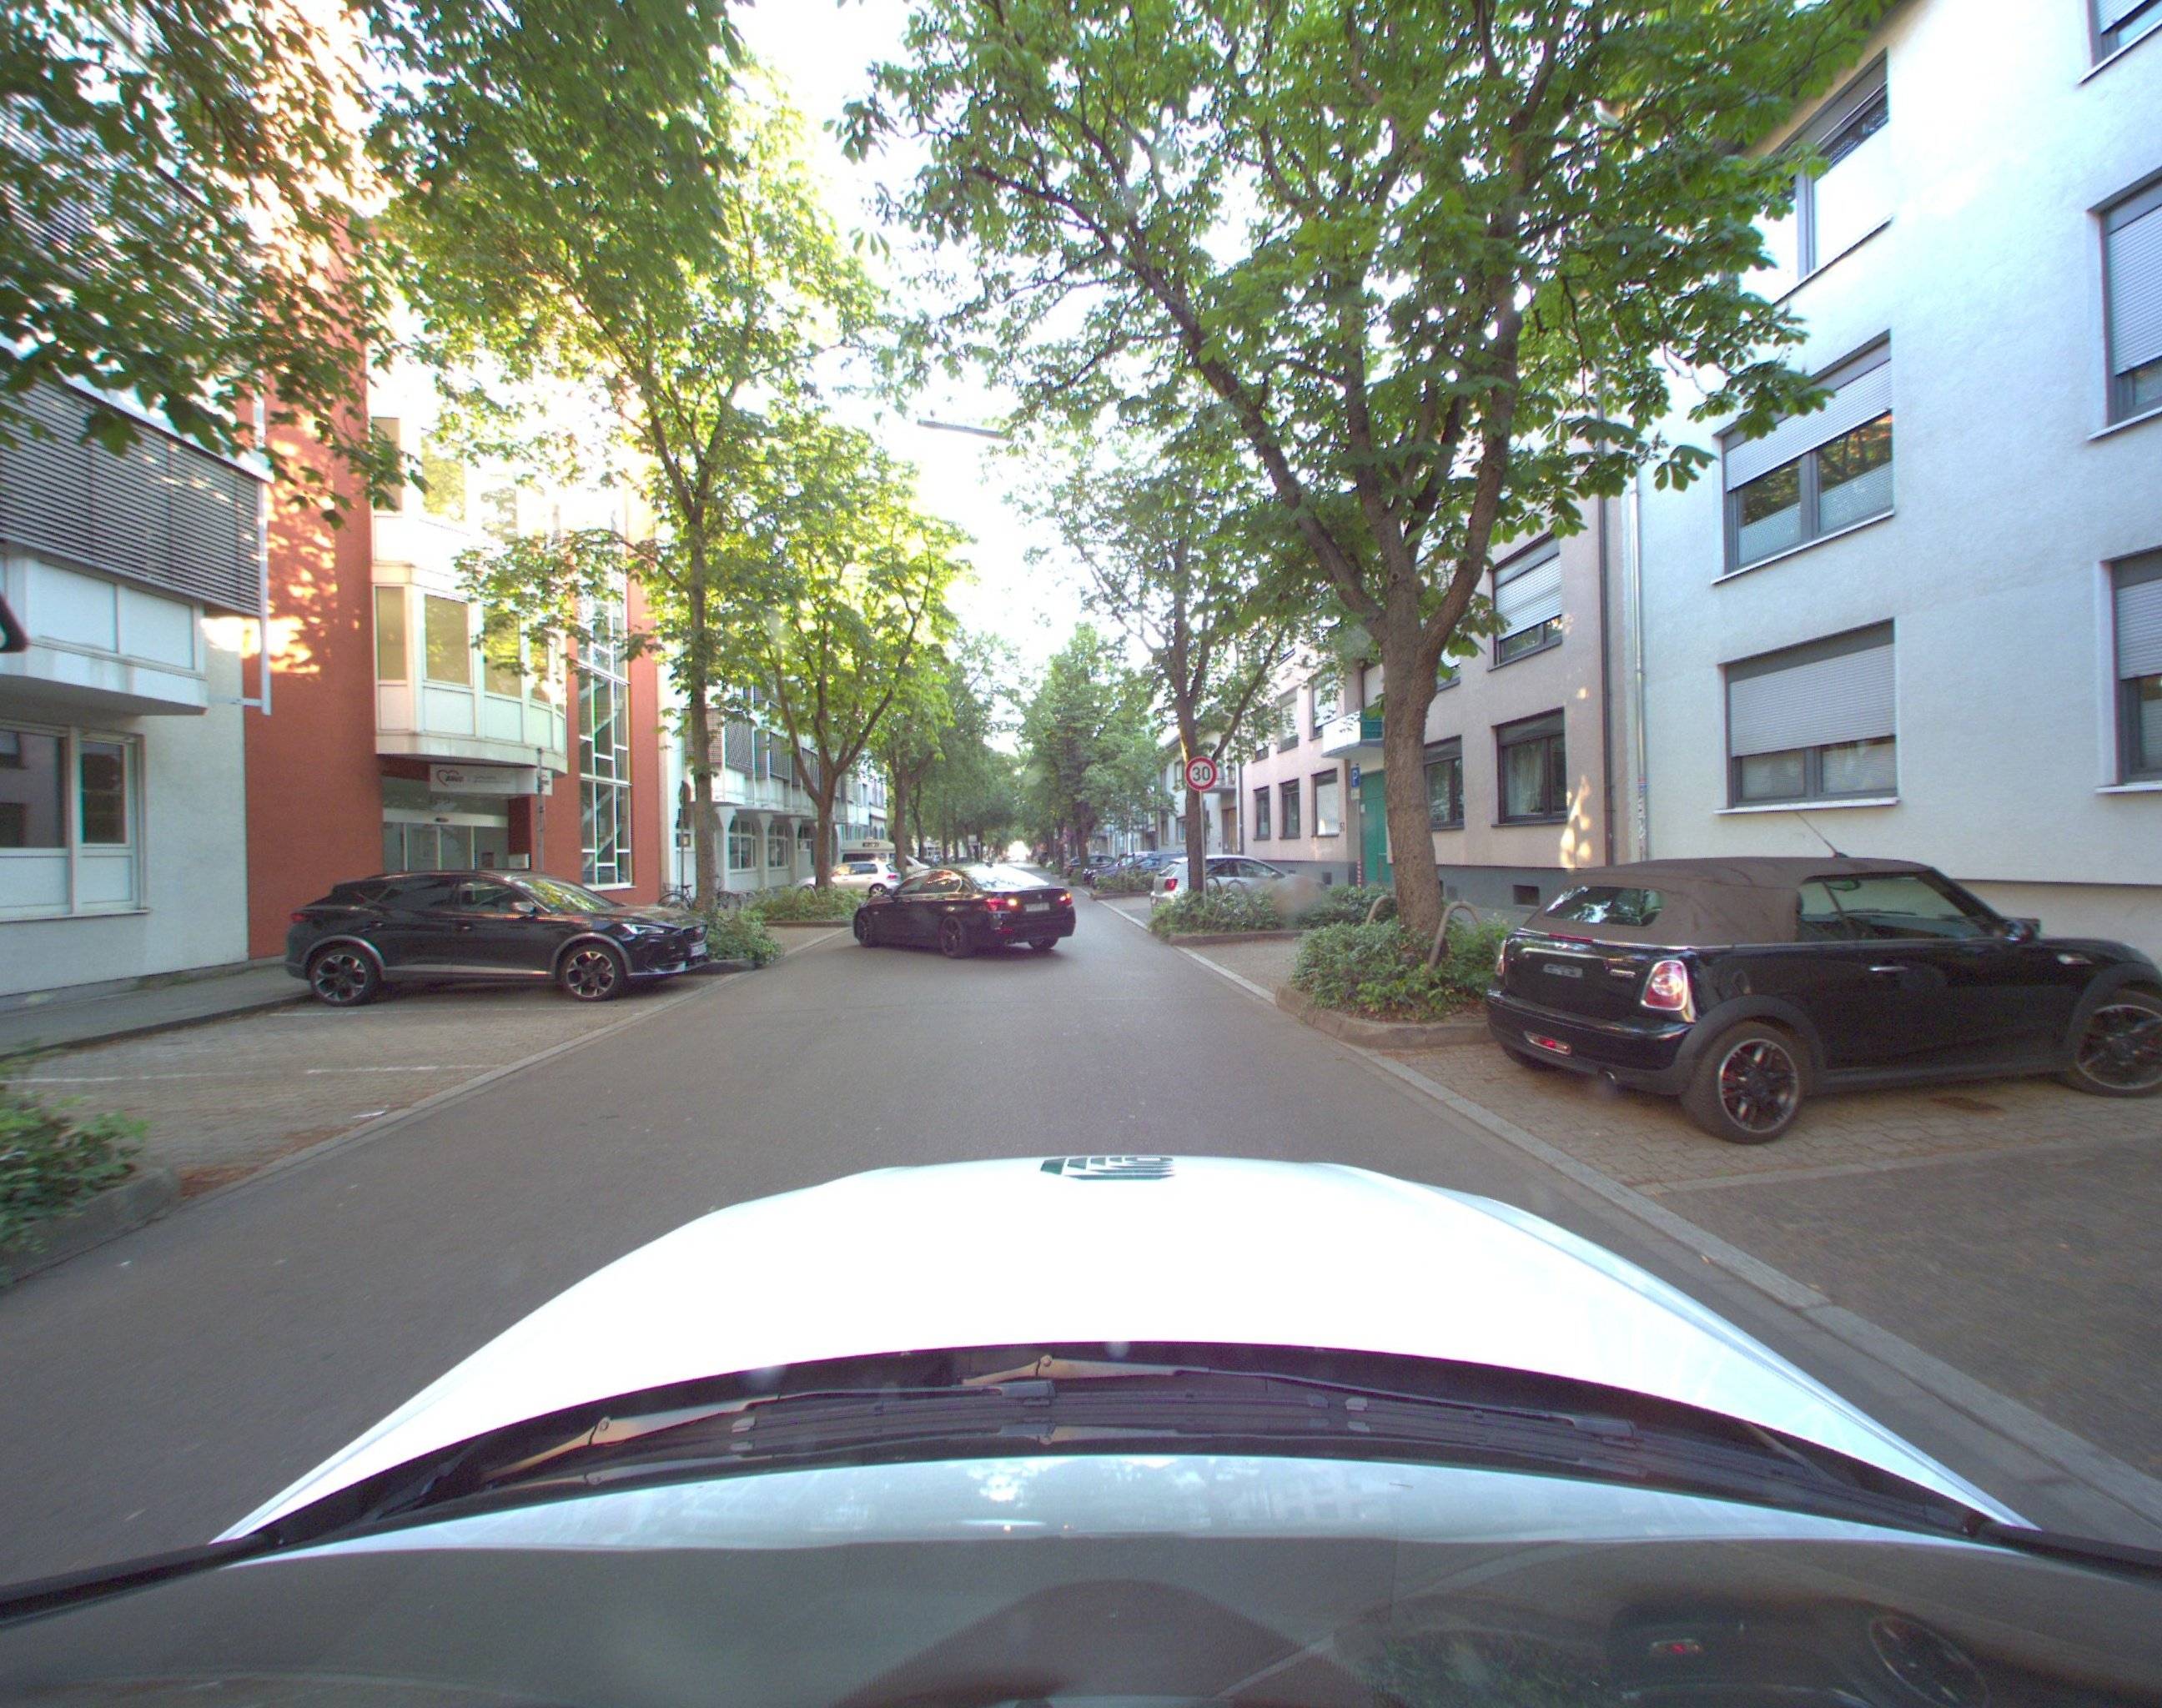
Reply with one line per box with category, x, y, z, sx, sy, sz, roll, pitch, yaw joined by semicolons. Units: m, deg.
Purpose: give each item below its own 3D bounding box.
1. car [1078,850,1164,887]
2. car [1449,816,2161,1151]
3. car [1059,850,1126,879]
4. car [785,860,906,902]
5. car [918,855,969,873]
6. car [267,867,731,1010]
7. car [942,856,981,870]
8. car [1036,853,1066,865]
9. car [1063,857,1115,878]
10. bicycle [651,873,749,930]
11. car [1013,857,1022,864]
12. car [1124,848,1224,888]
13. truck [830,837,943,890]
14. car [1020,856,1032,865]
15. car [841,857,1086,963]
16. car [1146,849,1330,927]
car;1.864;0.654;38.231;3.788;1.530;1.562;-2;0;-7
car;4.516;0.615;5.103;3.703;1.428;1.622;-4;0;-10
car;0.620;0.585;46.960;3.653;1.536;1.562;-2;0;-7
car;-8.816;0.993;30.805;4.125;1.471;1.637;0;0;-5
car;-11.266;0.799;66.862;4.015;1.471;1.637;0;0;-5
car;-6.943;0.958;10.156;4.349;1.509;1.832;0;0;-5
car;-12.827;0.979;87.667;4.015;1.471;1.637;0;0;-5
car;-3.770;0.615;102.905;3.653;1.393;1.562;-1;0;-7
car;0.544;1.003;59.980;3.653;1.393;1.562;-2;0;-7
bicycle;-8.797;1.083;18.877;1.973;1.199;0.499;-1;0;-16
car;-14.290;1.389;183.026;1.891;1.475;3.995;-1;0;-4
car;3.613;0.532;31.945;3.653;1.393;1.562;-2;0;-7
truck;-9.304;0.416;39.252;4.989;2.441;1.914;0;1;-4
car;-9.487;1.130;139.653;1.990;1.552;3.993;-1;0;-5
car;-2.149;0.822;13.748;1.778;1.450;4.611;-1;0;-42
car;3.390;0.704;17.894;3.653;1.479;1.562;-2;0;-7
